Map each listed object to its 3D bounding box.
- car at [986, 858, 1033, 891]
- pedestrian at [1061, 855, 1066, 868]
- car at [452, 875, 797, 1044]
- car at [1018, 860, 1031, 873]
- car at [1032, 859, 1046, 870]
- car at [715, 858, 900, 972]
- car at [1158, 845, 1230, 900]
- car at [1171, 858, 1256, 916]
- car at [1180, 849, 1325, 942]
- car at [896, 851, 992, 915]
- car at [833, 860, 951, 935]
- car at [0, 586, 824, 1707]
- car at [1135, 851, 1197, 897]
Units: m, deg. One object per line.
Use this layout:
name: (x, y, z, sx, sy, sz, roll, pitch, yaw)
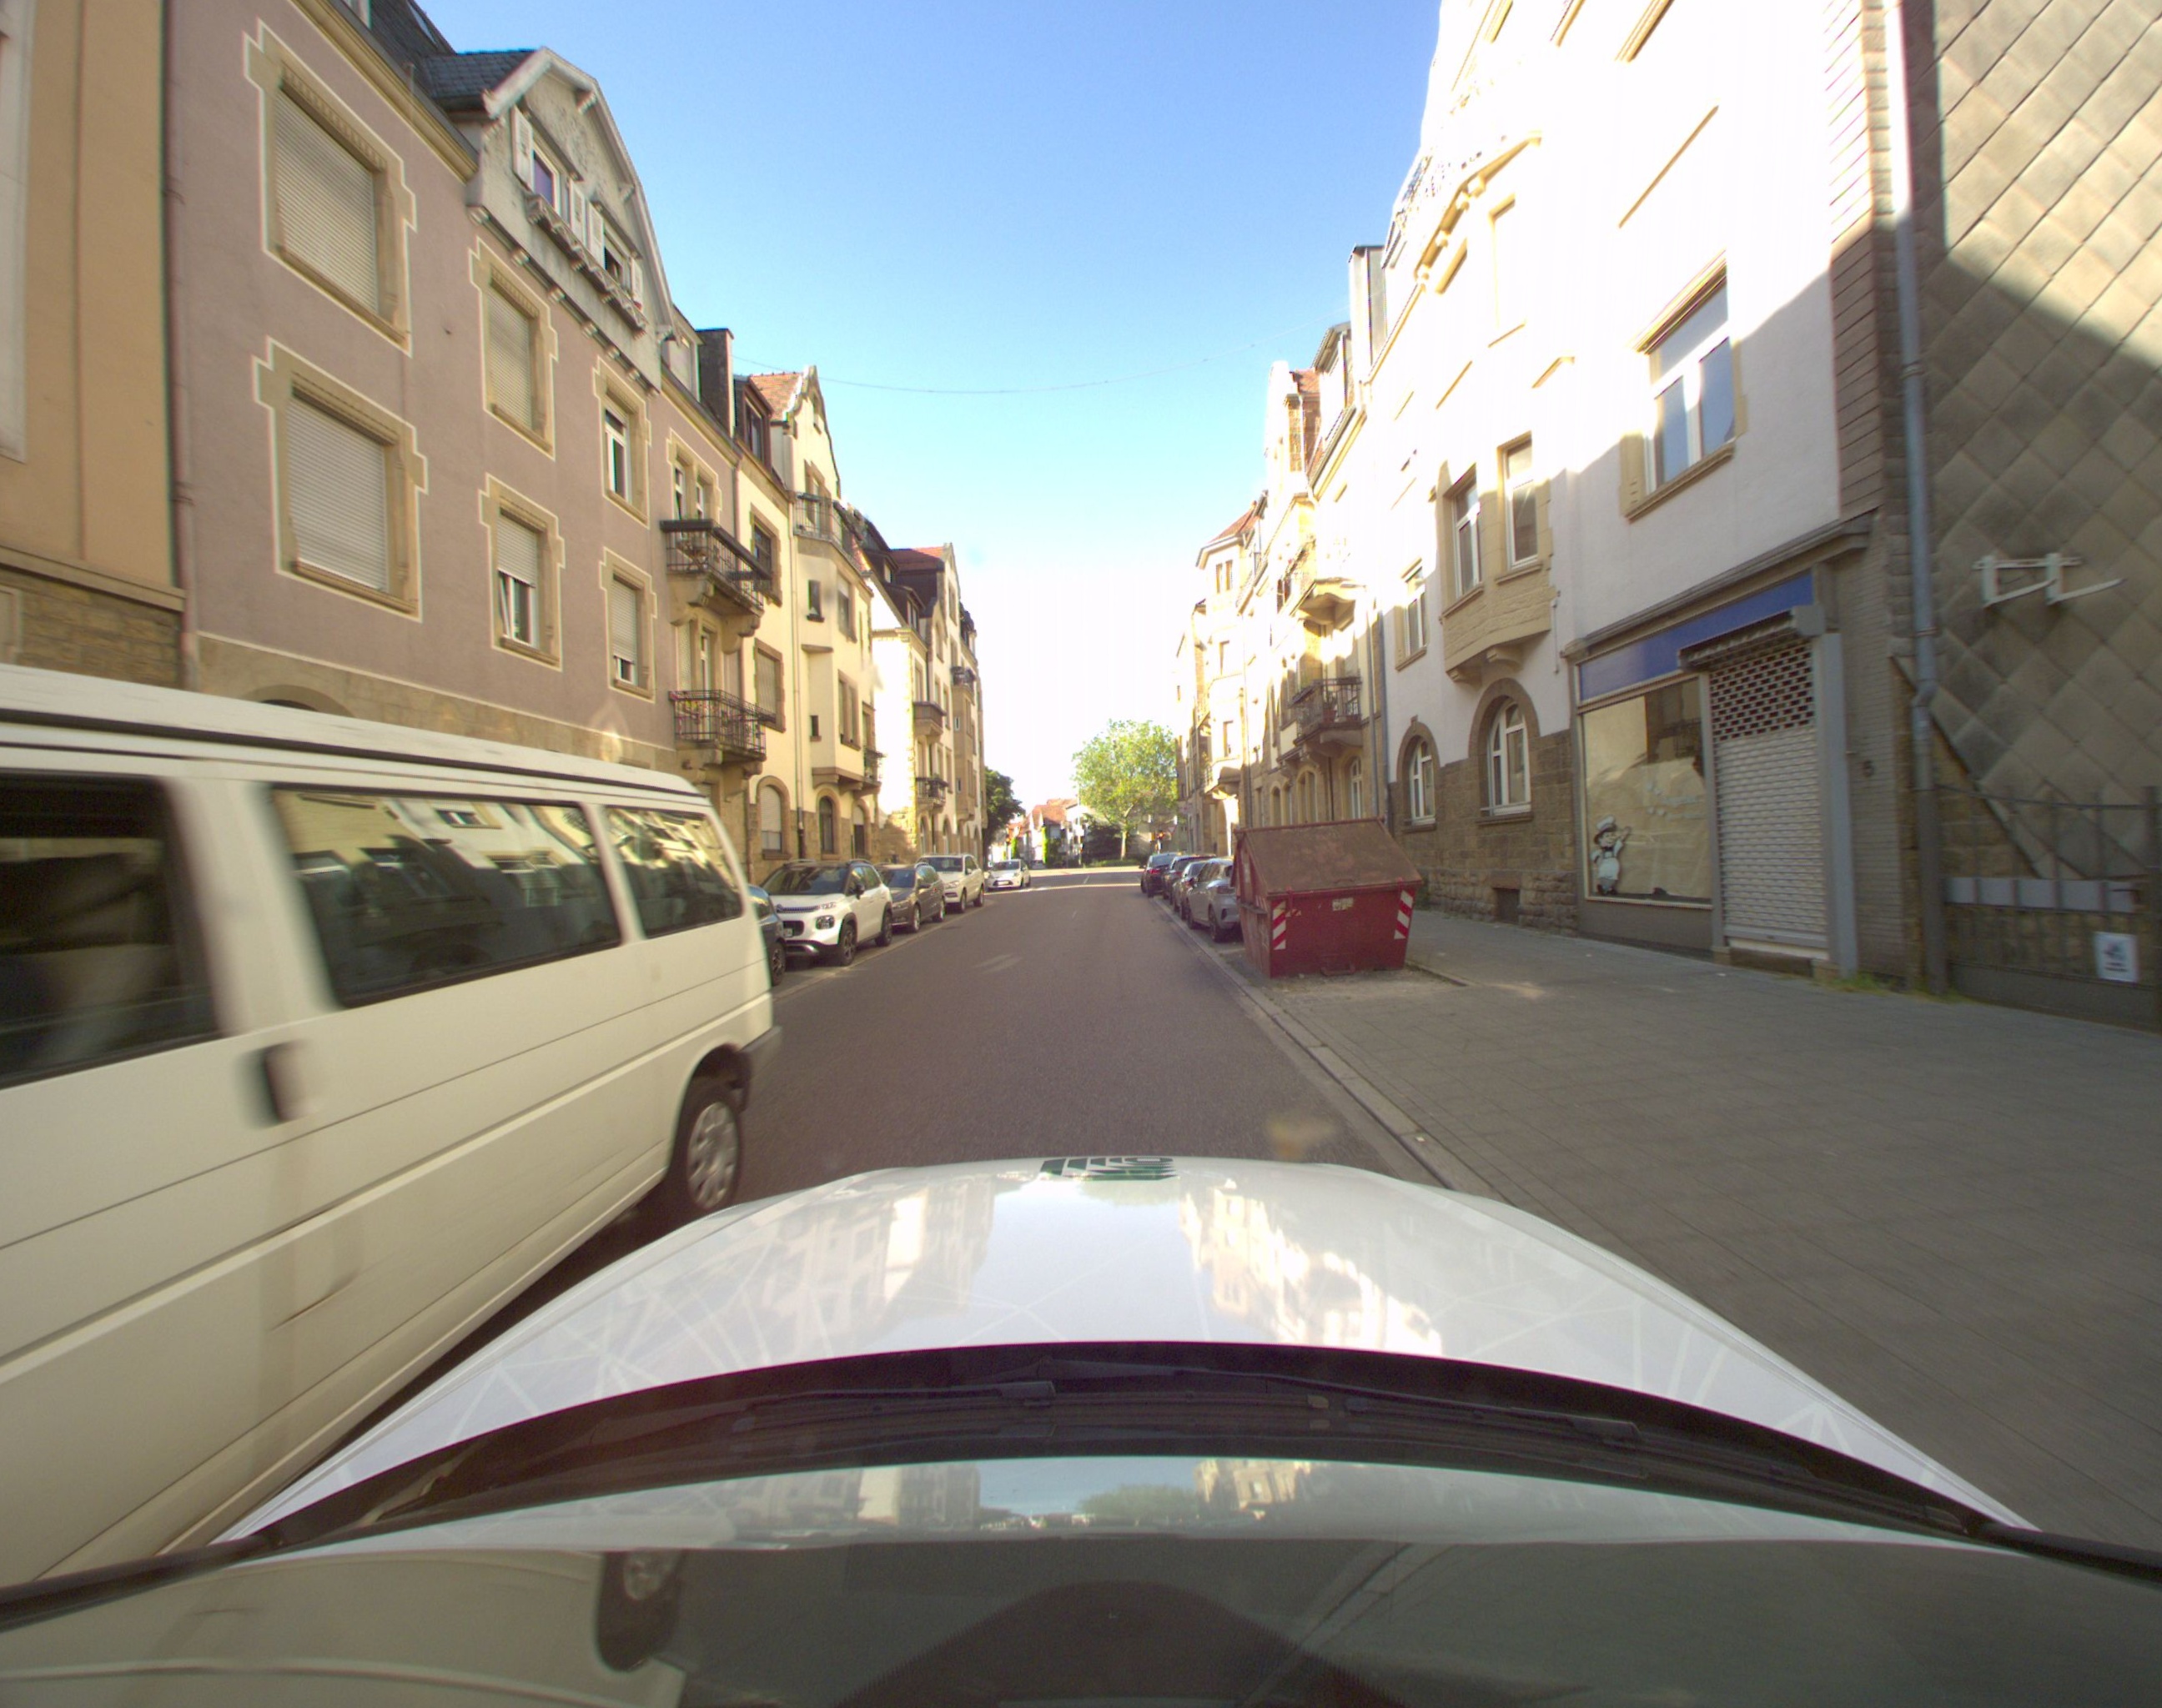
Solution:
car: (-3.473, 0.956, 39.914, 1.626, 1.464, 3.739, -3, 0, 4)
pedestrian: (-2.345, 0.997, 108.552, 0.631, 1.750, 0.659, -2, -1, -1)
car: (-4.750, 0.992, 9.158, 1.665, 1.393, 3.668, 1, 0, 2)
car: (-9.952, 2.193, 143.276, 1.991, 2.013, 3.991, -3, 0, -6)
car: (-5.742, 1.449, 110.447, 1.669, 1.483, 3.521, -2, -1, 0)
car: (-4.366, 0.891, 13.682, 1.709, 1.583, 4.020, 1, 0, 0)
car: (3.408, 0.521, 25.275, 1.645, 1.442, 4.259, -3, 0, 1)
car: (3.183, 0.752, 20.275, 1.685, 1.254, 3.945, -2, 0, 4)
car: (3.042, 0.679, 15.256, 1.781, 1.429, 3.805, -3, 0, -1)
car: (-4.095, 0.809, 25.109, 1.884, 1.722, 4.729, -2, 0, 2)
car: (-4.299, 0.922, 19.175, 1.567, 1.487, 4.282, -1, 0, 2)
car: (-2.468, 0.609, 2.304, 1.857, 1.937, 4.600, -3, 0, 1)
car: (3.049, 0.686, 29.897, 1.859, 1.462, 4.341, -3, 0, 1)
